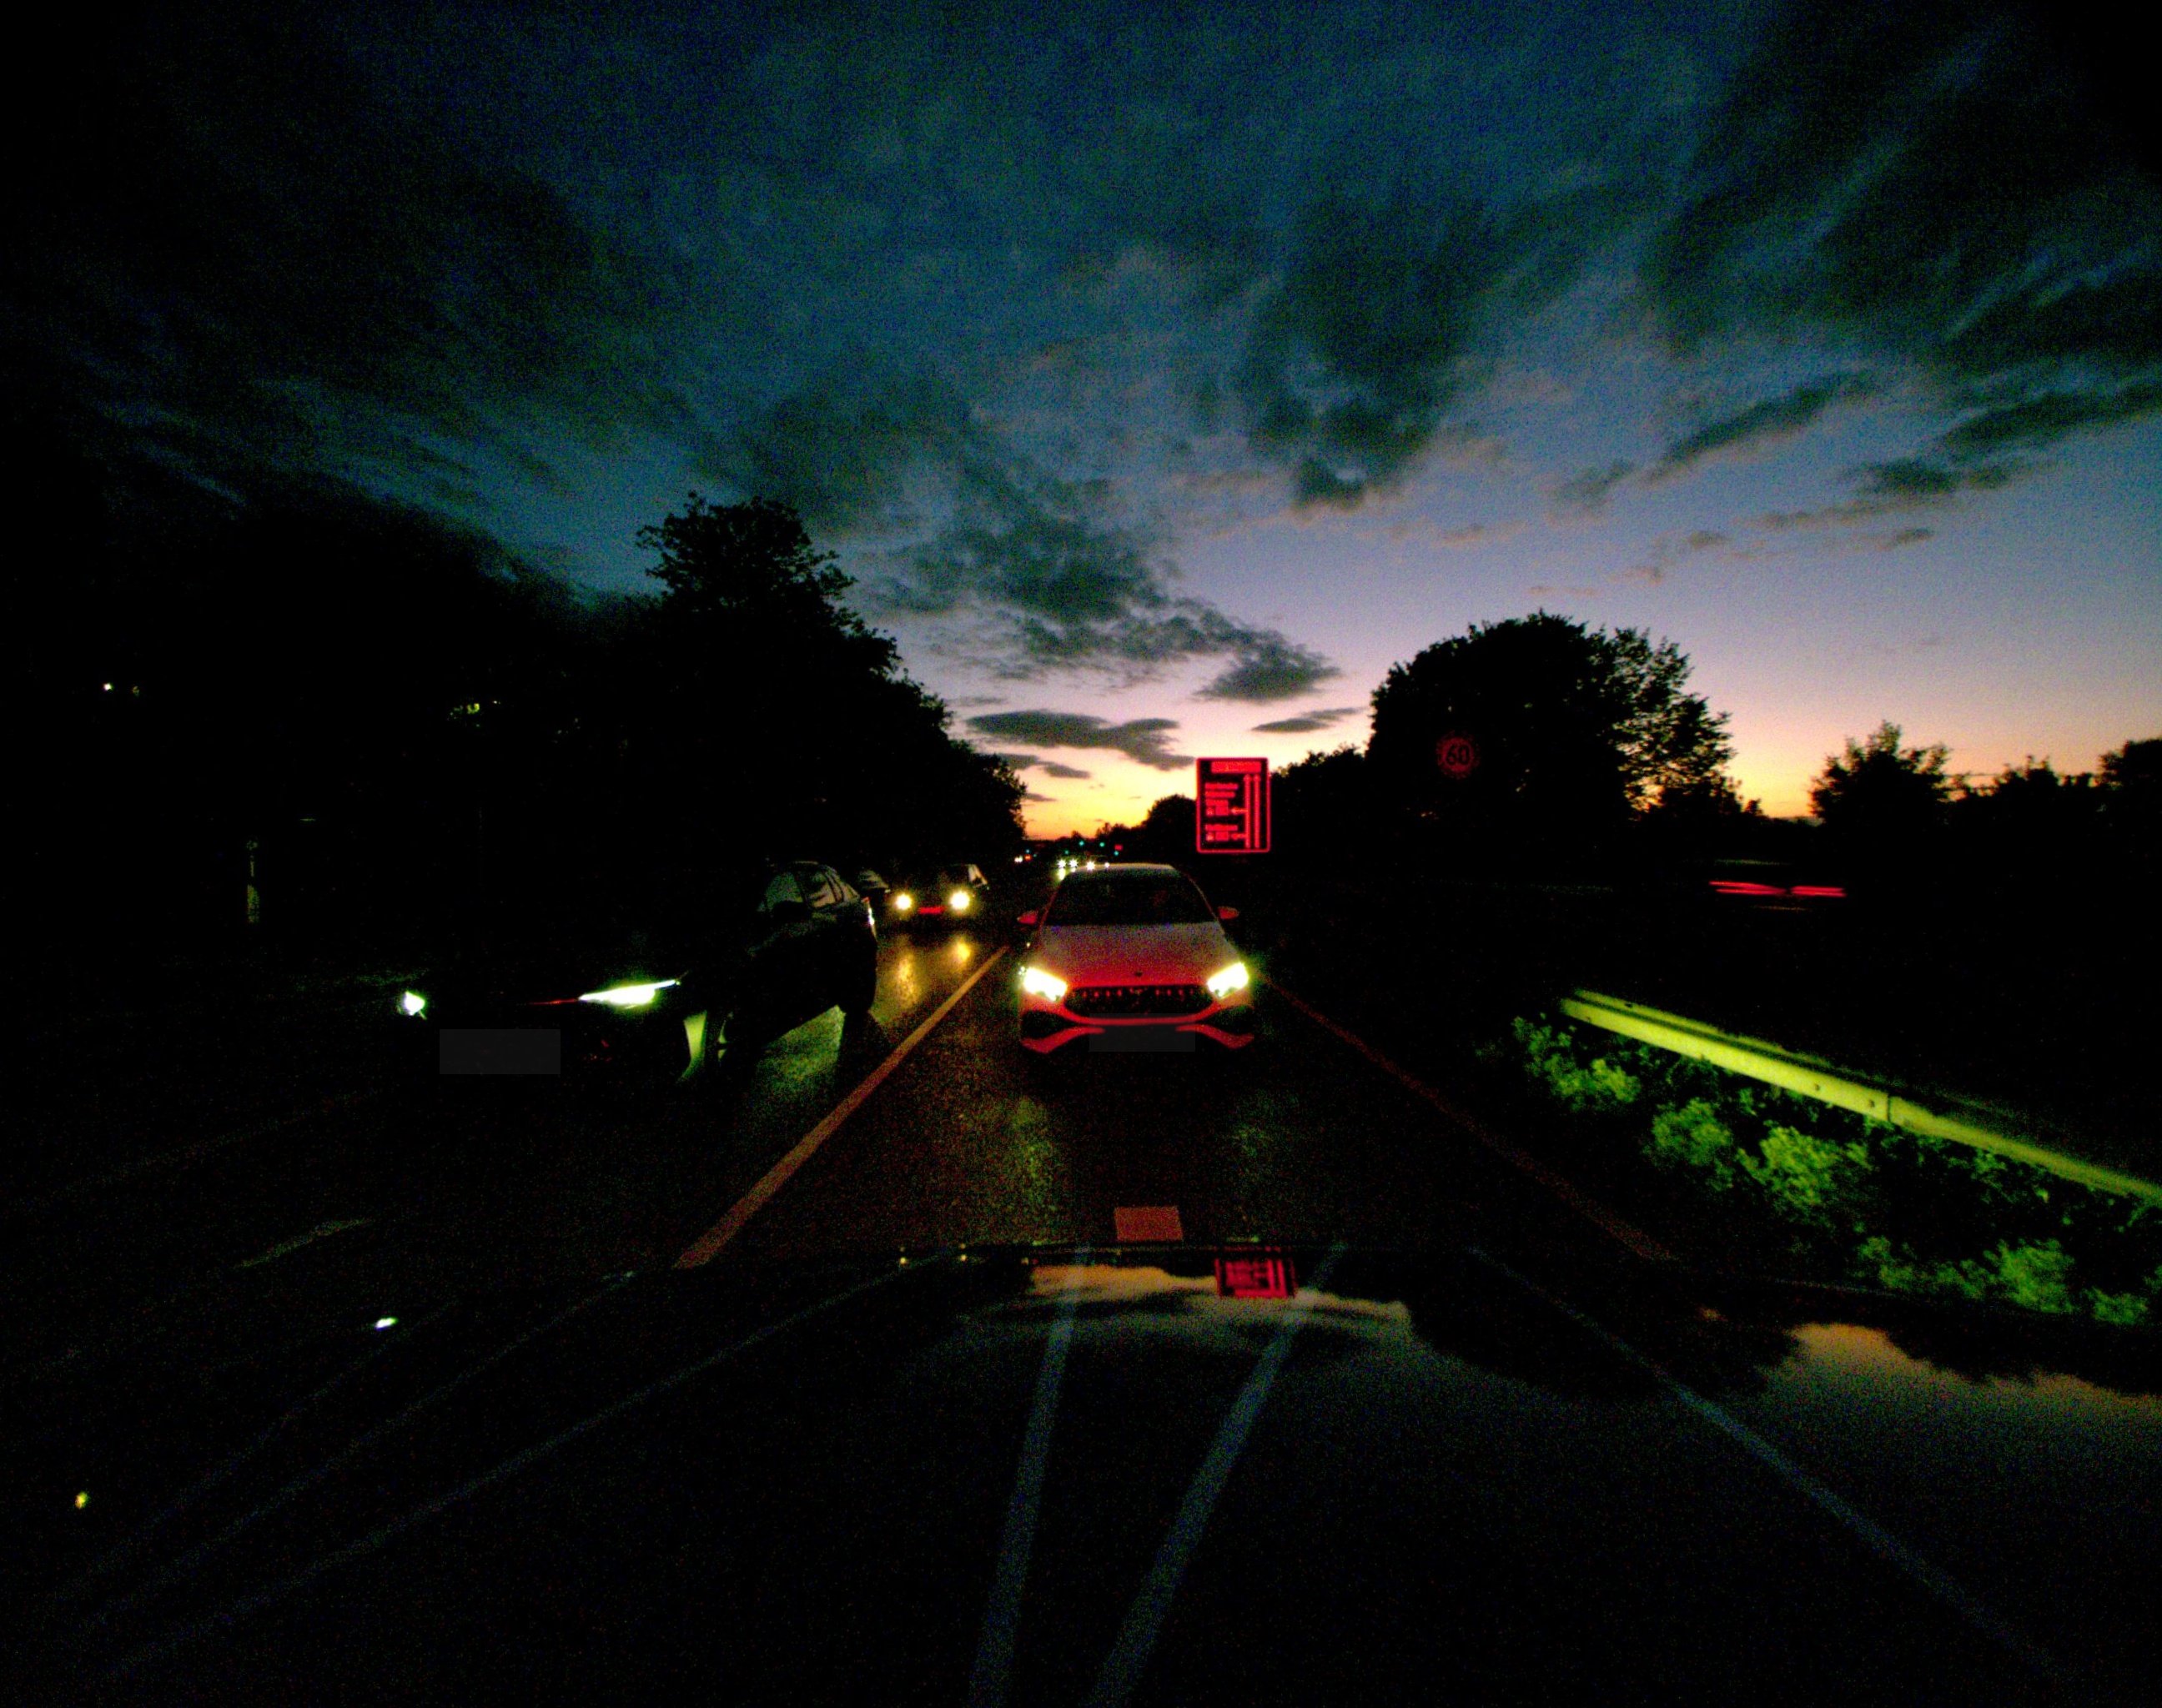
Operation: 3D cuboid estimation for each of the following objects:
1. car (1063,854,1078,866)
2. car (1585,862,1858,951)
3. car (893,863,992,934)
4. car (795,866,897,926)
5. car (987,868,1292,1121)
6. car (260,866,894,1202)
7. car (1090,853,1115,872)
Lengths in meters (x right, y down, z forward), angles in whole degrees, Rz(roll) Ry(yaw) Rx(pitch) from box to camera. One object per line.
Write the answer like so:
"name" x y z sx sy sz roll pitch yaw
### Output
"car" -1.402 0.786 99.838 1.999 1.423 4.501 0 0 -1
"car" 12.698 0.949 15.526 1.998 1.510 4.297 -1 0 1
"car" -3.277 1.003 18.638 1.624 1.460 3.871 -2 0 1
"car" -6.596 1.108 21.860 1.924 1.423 4.700 -1 0 -7
"car" 0.371 0.936 7.096 1.901 1.472 4.514 -2 0 0
"car" -3.177 0.970 6.273 1.998 1.600 4.711 -2 0 1
"car" 1.933 0.694 68.227 1.999 1.602 4.501 -1 0 -1
